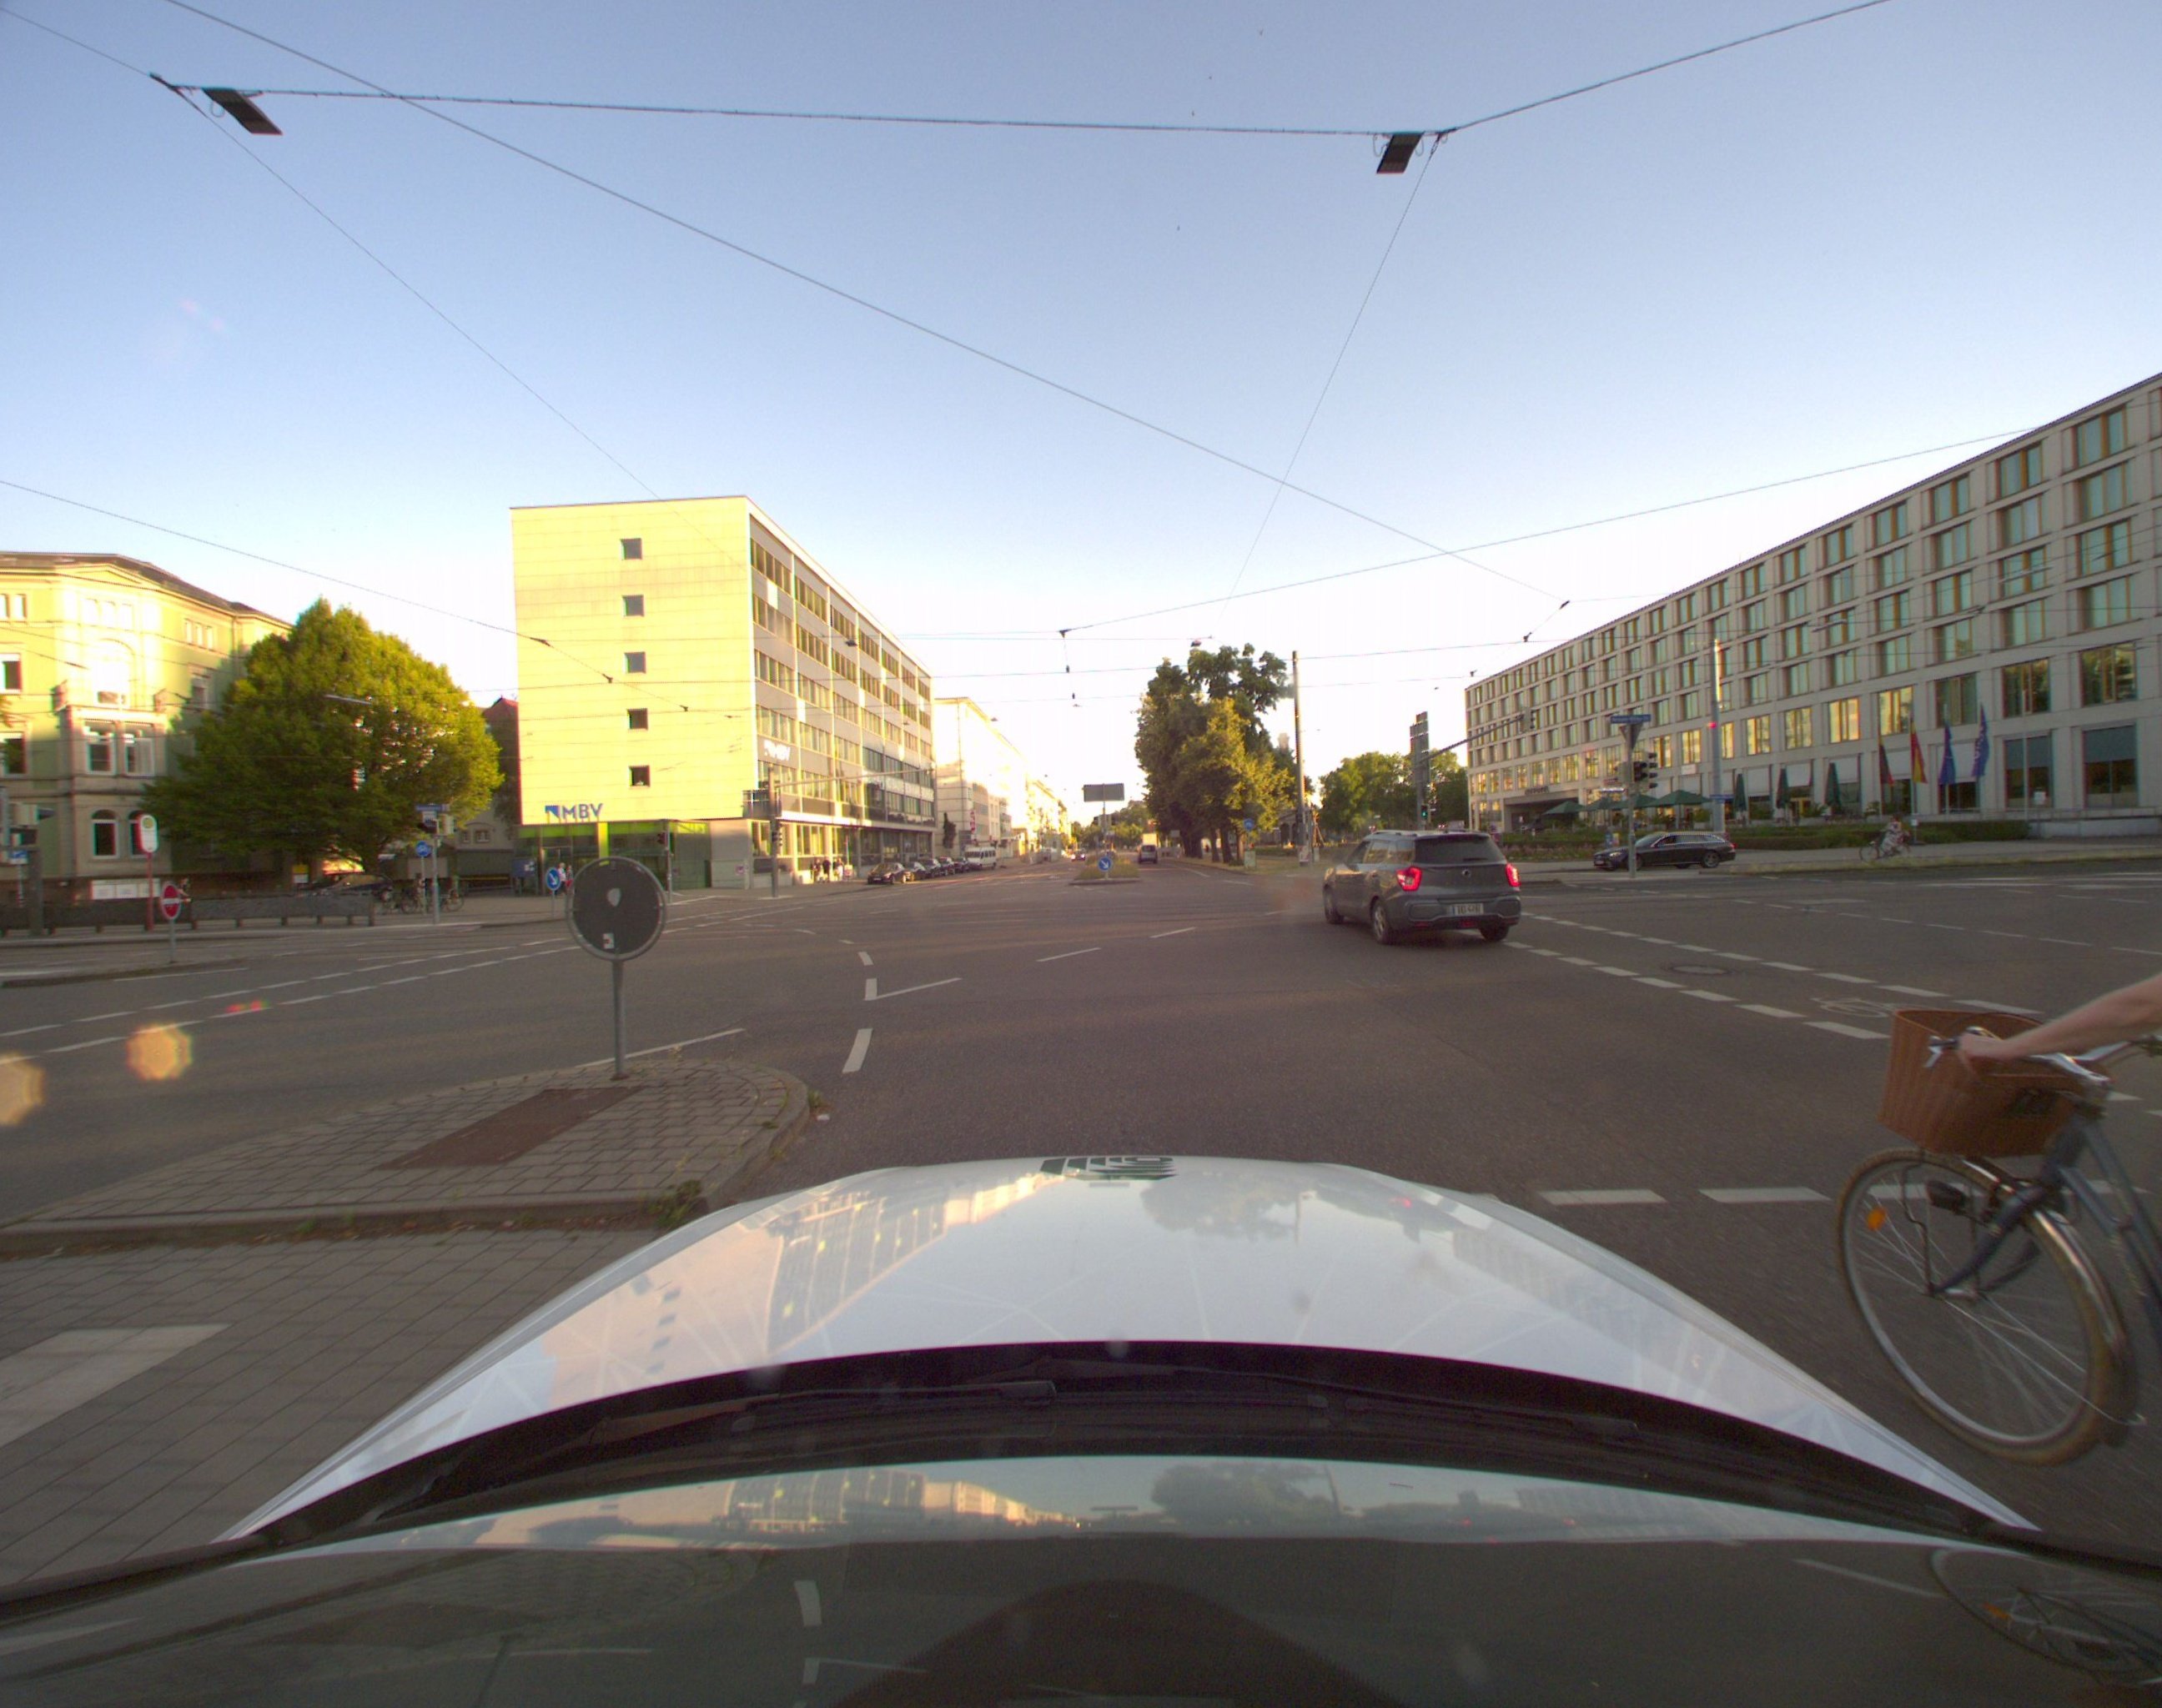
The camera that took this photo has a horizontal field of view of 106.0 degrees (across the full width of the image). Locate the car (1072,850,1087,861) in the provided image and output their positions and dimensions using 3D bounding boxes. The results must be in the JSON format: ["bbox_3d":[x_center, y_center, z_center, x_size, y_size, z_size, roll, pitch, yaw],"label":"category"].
[{"bbox_3d":[-0.189,0.194,108.116,1.685,1.420,4.178,-3,0,4],"label":"car"}]

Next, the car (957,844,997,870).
[{"bbox_3d":[-10.797,0.294,85.270,2.222,2.629,5.874,1,0,13],"label":"car"}]

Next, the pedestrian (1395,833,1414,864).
[{"bbox_3d":[17.382,-0.324,43.768,0.717,1.626,0.743,-2,0,34],"label":"pedestrian"}]

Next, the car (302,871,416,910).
[{"bbox_3d":[-34.995,1.731,39.613,1.791,1.574,3.999,-3,0,2],"label":"car"}]

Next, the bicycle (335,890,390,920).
[{"bbox_3d":[-29.068,2.051,32.958,0.738,1.074,1.558,-2,0,4],"label":"bicycle"}]

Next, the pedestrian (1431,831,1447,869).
[{"bbox_3d":[15.933,-0.183,36.277,0.531,1.626,0.630,-2,0,20],"label":"pedestrian"}]

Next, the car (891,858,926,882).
[{"bbox_3d":[-13.051,1.181,61.830,1.686,1.665,3.870,1,0,2],"label":"car"}]

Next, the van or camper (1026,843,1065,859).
[{"bbox_3d":[-5.537,-0.450,128.123,5.540,2.166,2.224,-4,0,-28],"label":"van or camper"}]

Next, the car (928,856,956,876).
[{"bbox_3d":[-12.390,1.013,72.640,1.686,1.665,3.870,1,0,2],"label":"car"}]

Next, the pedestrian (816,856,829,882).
[{"bbox_3d":[-18.305,1.075,57.698,0.651,1.768,0.645,-2,0,-2],"label":"pedestrian"}]

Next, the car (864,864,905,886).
[{"bbox_3d":[-13.471,1.410,55.980,1.686,1.411,3.870,1,0,2],"label":"car"}]

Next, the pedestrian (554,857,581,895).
[{"bbox_3d":[-25.195,1.071,39.964,0.741,1.768,0.709,-2,0,2],"label":"pedestrian"}]

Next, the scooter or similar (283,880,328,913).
[{"bbox_3d":[-31.940,1.744,33.577,0.586,1.225,1.205,-2,2,3],"label":"scooter or similar"}]

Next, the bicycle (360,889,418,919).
[{"bbox_3d":[-27.795,1.991,32.744,0.738,1.074,1.763,-2,0,4],"label":"bicycle"}]

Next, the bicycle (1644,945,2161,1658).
[{"bbox_3d":[2.223,0.879,1.679,0.606,1.114,2.085,-2,0,-2],"label":"bicycle"}]

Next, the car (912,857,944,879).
[{"bbox_3d":[-12.628,1.133,67.320,1.686,1.665,3.871,1,0,2],"label":"car"}]

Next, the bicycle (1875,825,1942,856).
[{"bbox_3d":[30.559,-0.487,30.088,1.745,1.051,0.541,-2,0,7],"label":"bicycle"}]

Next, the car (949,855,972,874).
[{"bbox_3d":[-11.655,0.989,78.786,1.493,1.665,3.870,1,0,2],"label":"car"}]

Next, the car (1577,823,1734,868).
[{"bbox_3d":[22.797,-0.290,32.503,4.764,1.523,1.822,-3,-2,10],"label":"car"}]

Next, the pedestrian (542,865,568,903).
[{"bbox_3d":[-25.277,1.450,39.140,0.730,1.768,0.709,-2,0,2],"label":"pedestrian"}]

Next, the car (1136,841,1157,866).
[{"bbox_3d":[6.321,-0.061,78.520,1.875,2.237,3.915,-3,0,4],"label":"car"}]

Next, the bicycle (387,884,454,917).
[{"bbox_3d":[-26.884,1.880,33.193,0.738,1.132,2.240,-2,1,4],"label":"bicycle"}]

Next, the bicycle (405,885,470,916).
[{"bbox_3d":[-25.880,1.855,32.795,0.735,1.074,1.875,-2,1,20],"label":"bicycle"}]

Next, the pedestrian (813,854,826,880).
[{"bbox_3d":[-18.261,0.918,56.867,0.651,1.768,0.645,-2,0,-2],"label":"pedestrian"}]

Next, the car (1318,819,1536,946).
[{"bbox_3d":[5.094,0.357,12.636,1.687,1.605,4.091,-2,0,1],"label":"car"}]

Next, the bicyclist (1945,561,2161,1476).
[{"bbox_3d":[2.221,0.293,1.482,0.606,1.635,0.597,-2,0,-1],"label":"bicyclist"}]

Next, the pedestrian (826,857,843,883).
[{"bbox_3d":[-17.184,1.098,56.768,0.838,1.768,0.785,-2,0,-2],"label":"pedestrian"}]

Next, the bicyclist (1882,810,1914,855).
[{"bbox_3d":[30.234,-0.789,30.145,0.591,1.635,0.543,-2,0,8],"label":"bicyclist"}]

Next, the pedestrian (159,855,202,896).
[{"bbox_3d":[-40.391,0.964,36.538,0.987,1.768,0.705,-2,0,-13],"label":"pedestrian"}]

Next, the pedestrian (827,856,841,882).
[{"bbox_3d":[-17.548,1.071,57.770,0.737,1.768,0.672,-2,0,-2],"label":"pedestrian"}]
